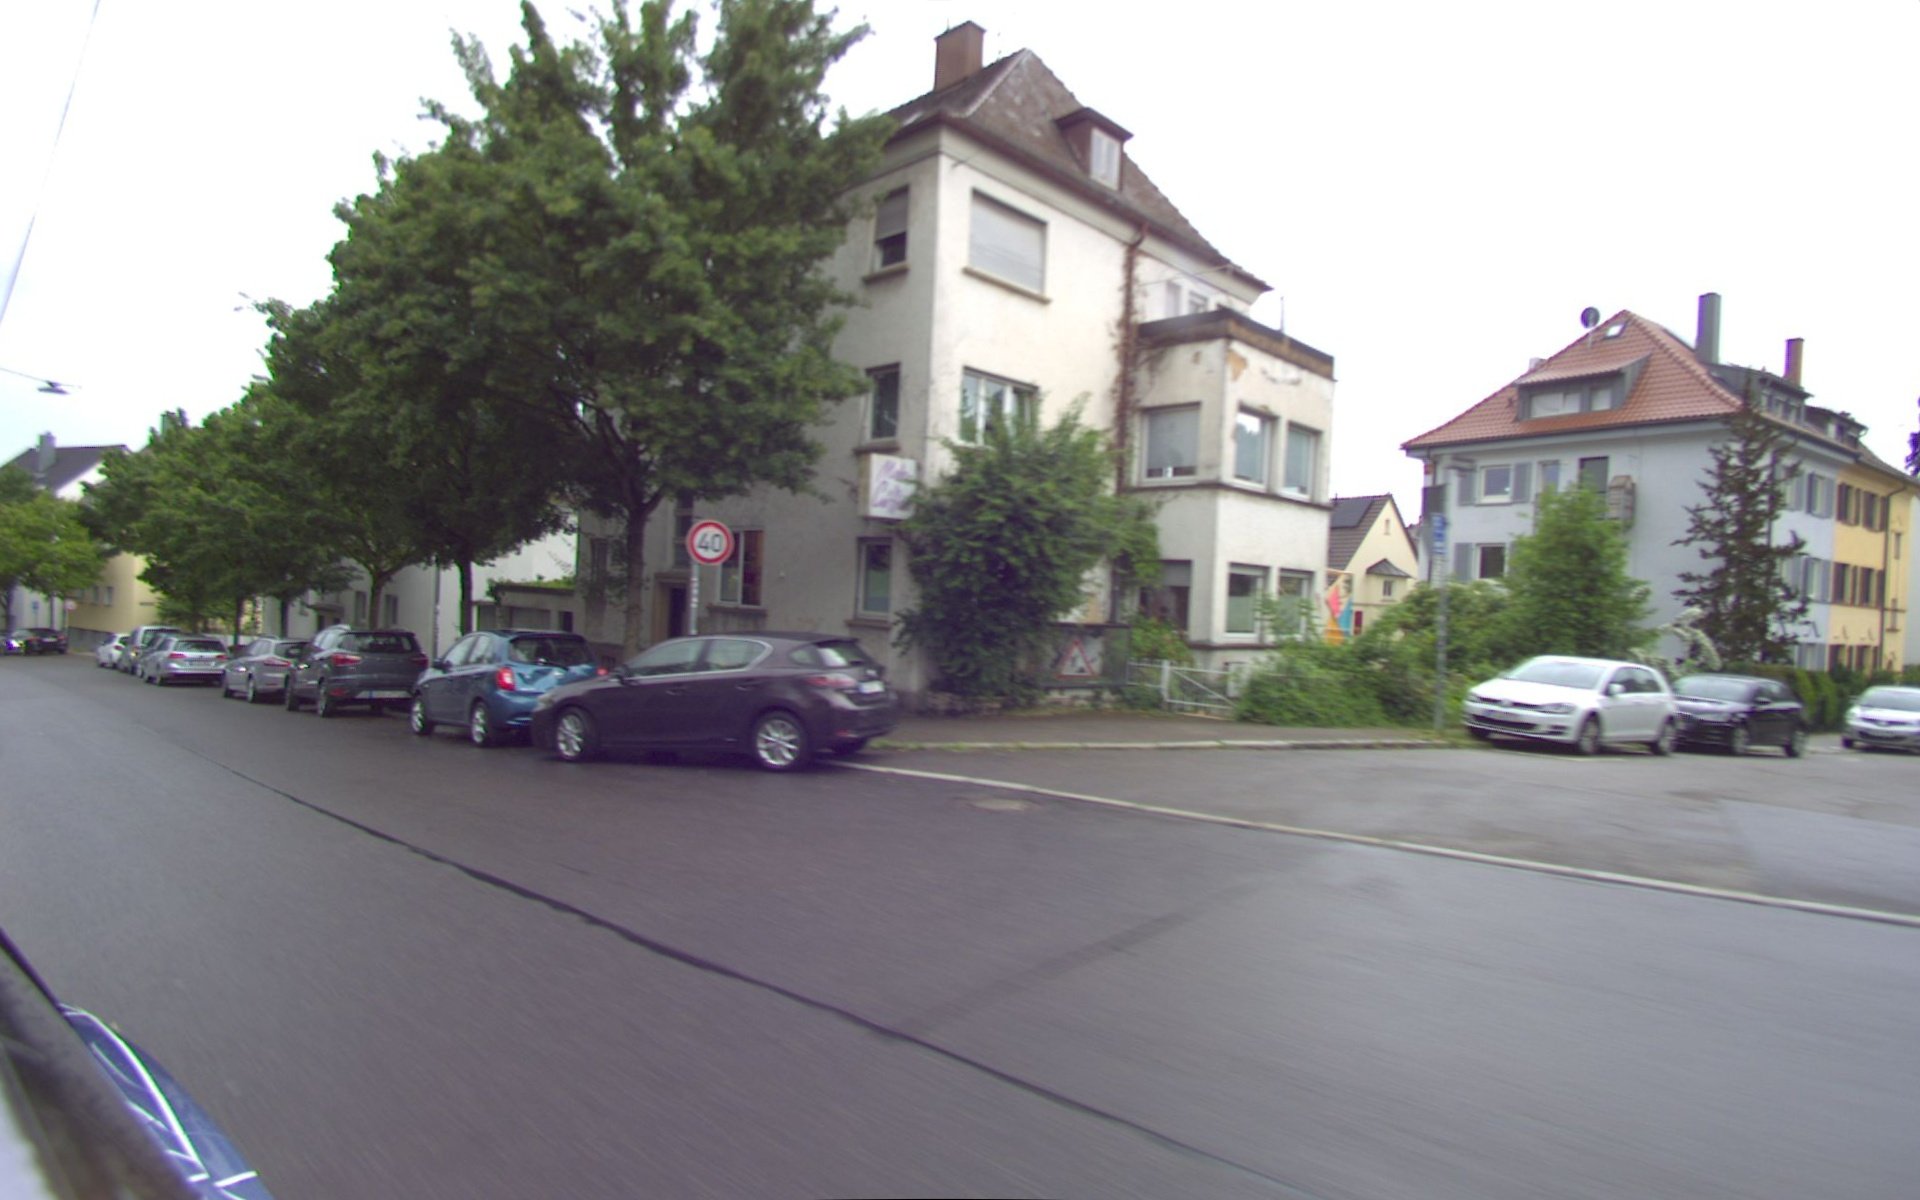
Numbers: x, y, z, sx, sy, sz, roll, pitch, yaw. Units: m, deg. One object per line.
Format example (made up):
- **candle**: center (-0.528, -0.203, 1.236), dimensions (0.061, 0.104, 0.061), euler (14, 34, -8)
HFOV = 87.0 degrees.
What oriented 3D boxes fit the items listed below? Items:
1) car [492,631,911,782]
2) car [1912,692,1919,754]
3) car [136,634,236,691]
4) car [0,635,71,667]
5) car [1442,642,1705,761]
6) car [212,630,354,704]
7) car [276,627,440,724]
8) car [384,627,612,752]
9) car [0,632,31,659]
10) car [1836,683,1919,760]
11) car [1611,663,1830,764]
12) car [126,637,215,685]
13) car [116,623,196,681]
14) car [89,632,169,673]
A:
- **car**: center (-2.836, 1.074, 11.343), dimensions (4.163, 1.401, 1.988), euler (0, -1, 18)
- **car**: center (27.518, 3.449, 27.089), dimensions (3.933, 1.618, 2.006), euler (7, -3, -32)
- **car**: center (-23.774, 1.850, 31.018), dimensions (4.598, 1.464, 1.784), euler (0, 0, 44)
- **car**: center (-48.335, 2.617, 52.700), dimensions (4.499, 1.552, 1.763), euler (-1, 0, 30)
- **car**: center (9.762, 1.616, 16.038), dimensions (4.037, 1.529, 2.005), euler (7, -4, -34)
- **car**: center (-15.972, 1.549, 23.771), dimensions (4.802, 1.564, 1.784), euler (-3, -5, 45)
- **car**: center (-11.753, 1.370, 19.650), dimensions (4.141, 1.639, 1.784), euler (-1, -1, 45)
- **car**: center (-6.604, 1.179, 14.256), dimensions (1.693, 1.474, 3.883), euler (-1, -2, -44)
- **car**: center (-52.244, 2.474, 54.835), dimensions (4.306, 1.407, 1.602), euler (-2, -1, 30)
- **car**: center (22.934, 2.975, 24.304), dimensions (3.933, 1.618, 1.864), euler (7, -4, -34)
- **car**: center (14.229, 2.132, 18.889), dimensions (4.037, 1.529, 2.005), euler (7, -4, -34)
- **car**: center (-27.824, 2.122, 35.634), dimensions (4.236, 1.497, 1.785), euler (0, -3, 43)
- **car**: center (-31.315, 1.956, 39.363), dimensions (4.550, 2.016, 1.892), euler (0, 0, 44)
- **car**: center (-35.624, 2.225, 43.346), dimensions (4.341, 1.526, 1.767), euler (1, -3, 39)
